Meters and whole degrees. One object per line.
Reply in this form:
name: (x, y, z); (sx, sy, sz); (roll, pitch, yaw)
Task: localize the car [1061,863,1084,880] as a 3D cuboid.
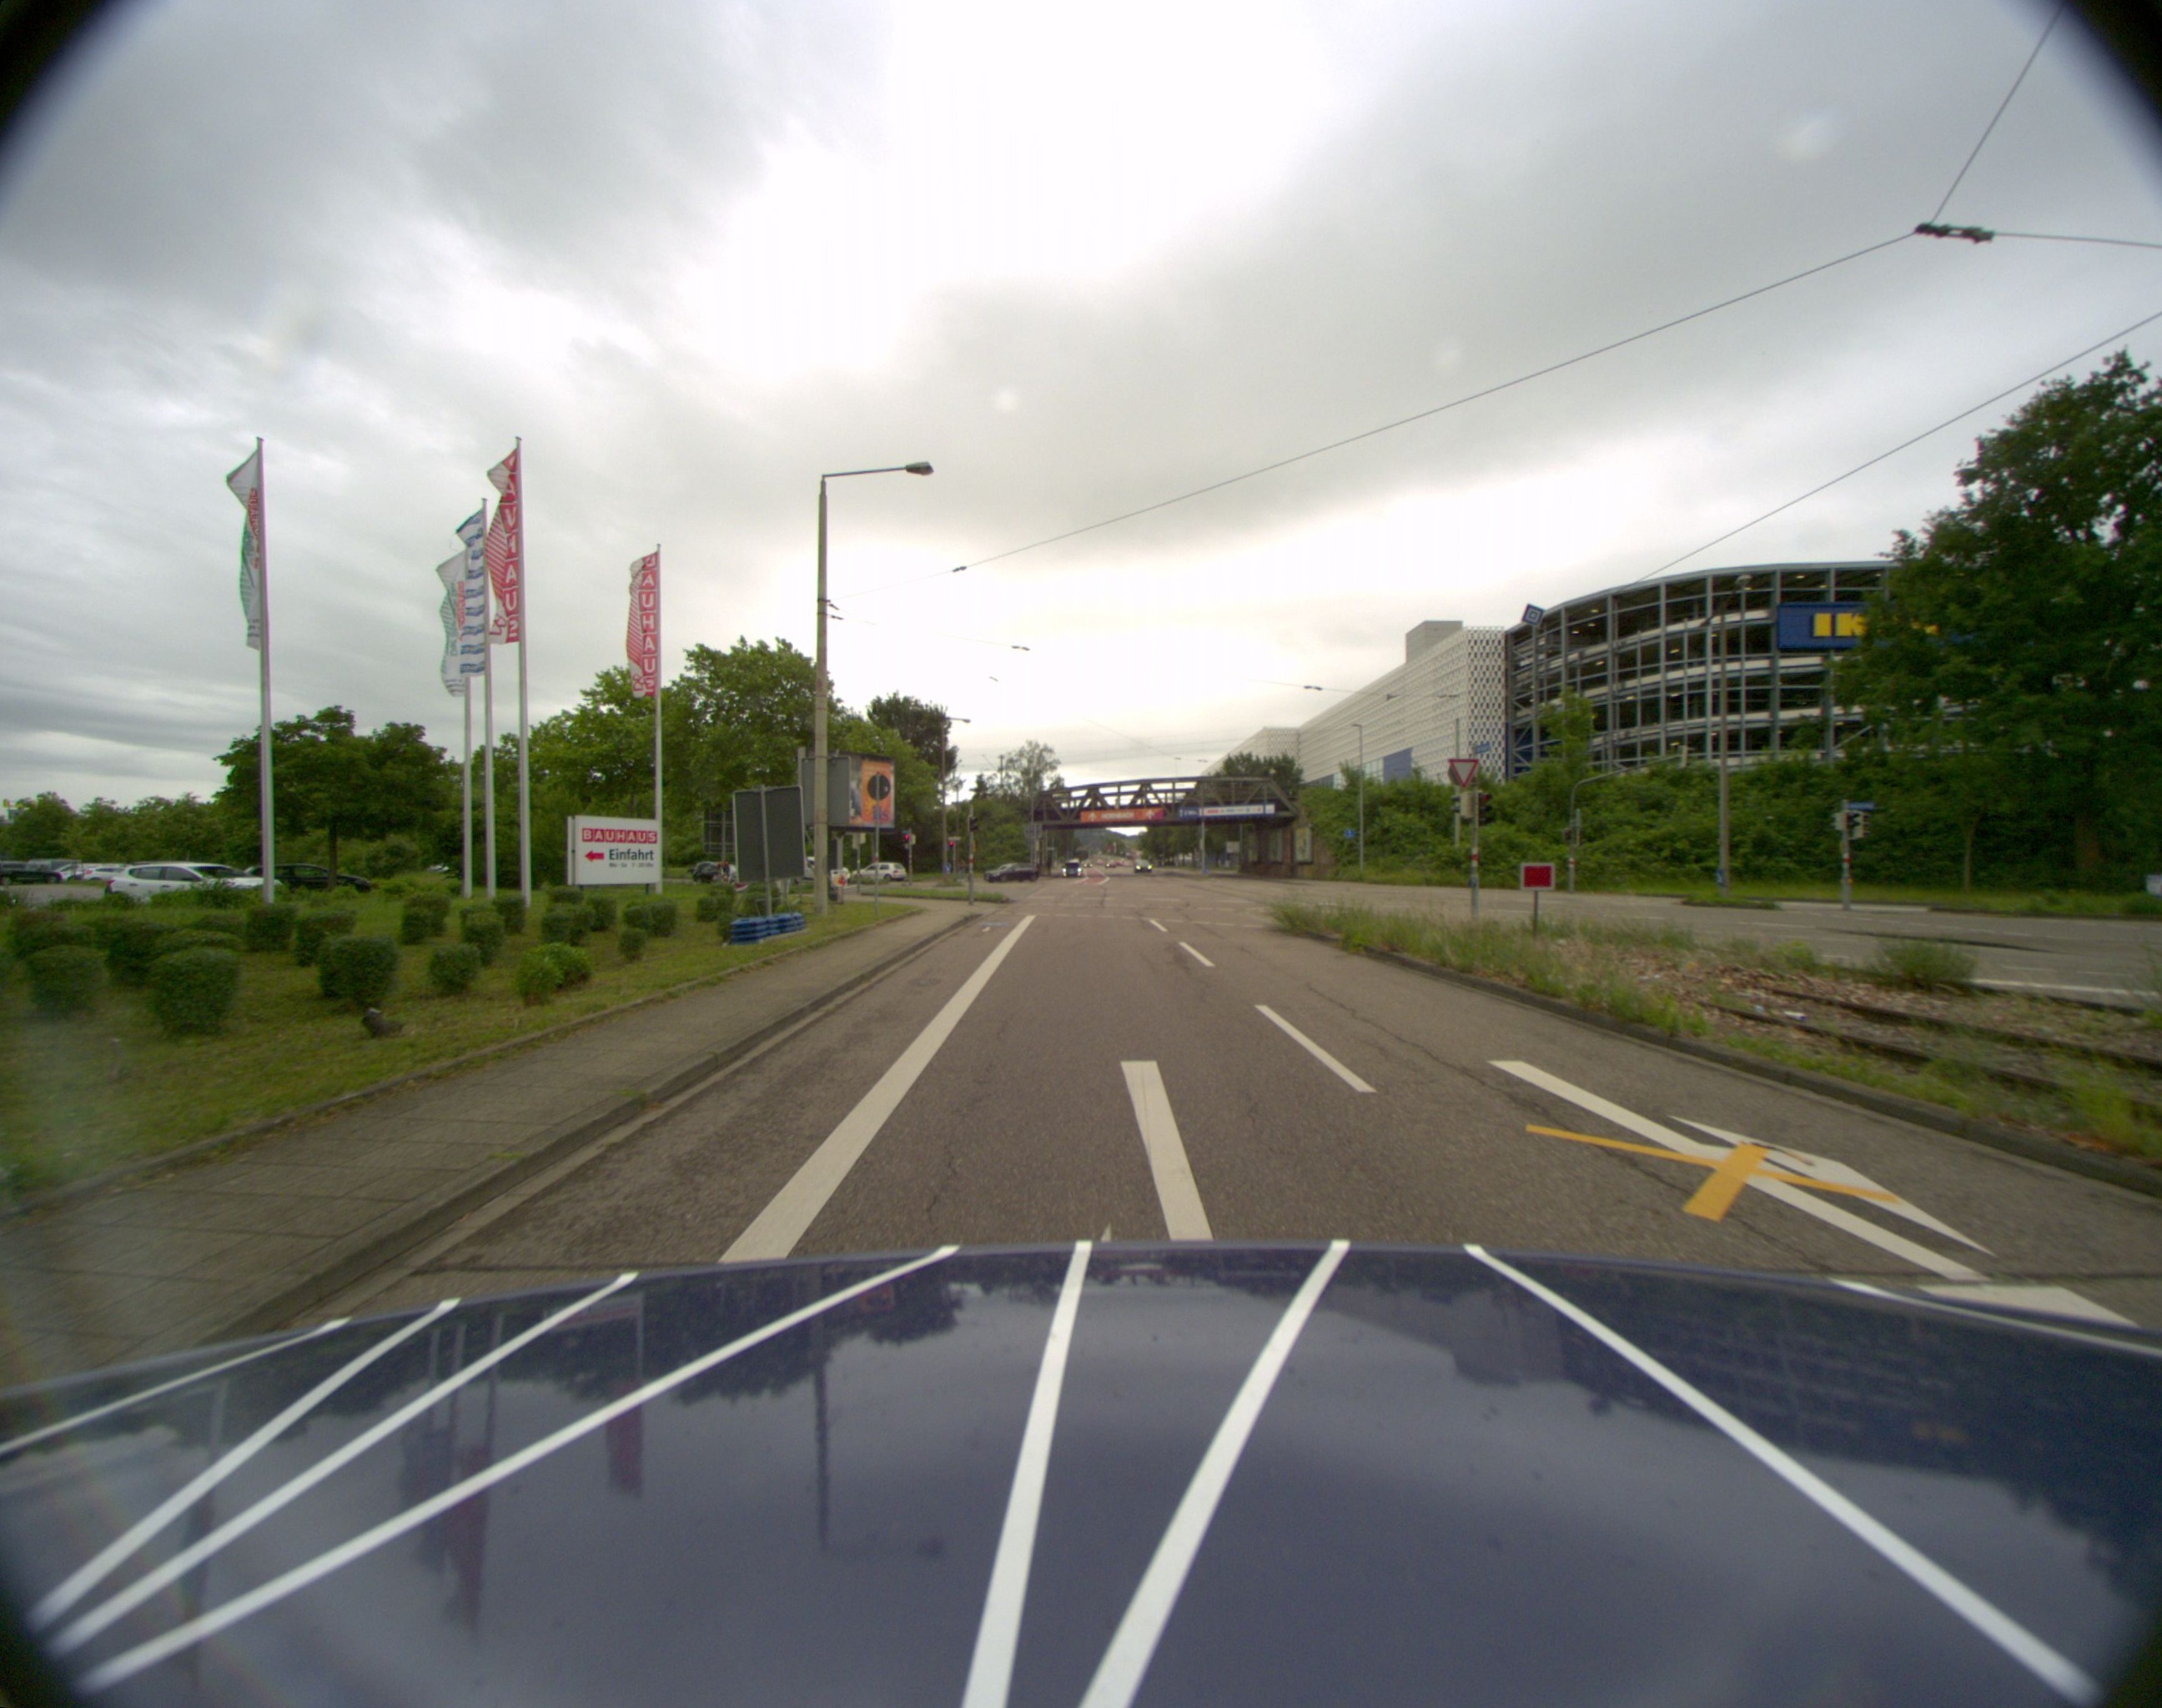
car: (-0.854, 1.677, 73.515); (1.788, 1.637, 3.998); (0, 0, -6)

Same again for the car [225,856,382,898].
car: (-31.959, 0.905, 31.351); (1.821, 1.488, 4.243); (-2, 0, 36)

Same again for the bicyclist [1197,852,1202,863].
bicyclist: (20.910, 0.574, 133.947); (0.703, 1.863, 1.020); (-2, 1, 0)

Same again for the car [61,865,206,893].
car: (-62.173, 1.570, 49.998); (2.149, 1.667, 5.738); (0, 0, 31)

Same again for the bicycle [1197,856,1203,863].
bicycle: (20.929, 0.929, 133.939); (0.714, 1.180, 2.370); (-2, 0, 0)

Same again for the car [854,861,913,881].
car: (-14.833, 1.284, 57.172); (3.933, 1.415, 1.730); (-2, 0, 16)

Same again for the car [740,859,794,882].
car: (-21.466, 1.087, 51.867); (3.678, 1.522, 1.700); (0, 0, 35)

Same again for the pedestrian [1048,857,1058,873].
pedestrian: (-2.998, 1.175, 81.251); (0.785, 1.749, 0.876); (0, 0, 31)

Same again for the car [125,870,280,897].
car: (-52.002, 1.702, 45.151); (2.149, 1.432, 5.738); (0, 0, 31)

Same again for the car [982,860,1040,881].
car: (-5.173, 1.236, 56.491); (4.008, 1.415, 1.833); (-1, -1, -41)

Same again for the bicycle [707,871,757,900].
bicycle: (-14.128, 1.261, 30.782); (1.811, 1.111, 0.487); (0, 0, -38)

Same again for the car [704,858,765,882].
car: (-22.181, 0.969, 48.573); (4.054, 1.473, 1.700); (0, 0, 35)

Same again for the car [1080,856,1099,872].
car: (0.986, 1.145, 90.320); (1.995, 1.838, 4.103); (0, -1, -3)

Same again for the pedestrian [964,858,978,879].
pedestrian: (-8.667, 1.113, 59.865); (0.745, 1.630, 0.776); (0, 0, -35)

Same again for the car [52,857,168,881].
car: (-78.928, 1.180, 61.953); (2.149, 1.882, 5.739); (0, 0, 40)

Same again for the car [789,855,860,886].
car: (-16.289, 1.002, 48.129); (4.409, 1.818, 1.884); (0, 2, 33)

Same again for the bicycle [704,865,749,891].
bicycle: (-15.903, 1.068, 34.078); (1.890, 1.142, 0.583); (0, 0, 17)

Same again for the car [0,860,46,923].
car: (-27.868, 0.970, 17.648); (4.612, 1.488, 1.930); (-2, 0, -5)

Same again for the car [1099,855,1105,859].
car: (7.275, 1.054, 262.093); (1.681, 1.420, 3.650); (1, -1, -3)

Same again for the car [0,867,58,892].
car: (-75.807, 1.766, 52.581); (5.732, 1.667, 2.152); (0, 0, -20)

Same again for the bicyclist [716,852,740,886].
bicyclist: (-15.816, 0.658, 34.036); (0.758, 1.511, 0.583); (0, 0, 17)

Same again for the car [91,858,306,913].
car: (-27.470, 0.946, 23.783); (4.233, 1.488, 1.930); (-2, 0, -4)

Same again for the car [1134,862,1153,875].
car: (7.176, 1.657, 87.594); (1.837, 1.415, 4.000); (-1, -1, 0)
